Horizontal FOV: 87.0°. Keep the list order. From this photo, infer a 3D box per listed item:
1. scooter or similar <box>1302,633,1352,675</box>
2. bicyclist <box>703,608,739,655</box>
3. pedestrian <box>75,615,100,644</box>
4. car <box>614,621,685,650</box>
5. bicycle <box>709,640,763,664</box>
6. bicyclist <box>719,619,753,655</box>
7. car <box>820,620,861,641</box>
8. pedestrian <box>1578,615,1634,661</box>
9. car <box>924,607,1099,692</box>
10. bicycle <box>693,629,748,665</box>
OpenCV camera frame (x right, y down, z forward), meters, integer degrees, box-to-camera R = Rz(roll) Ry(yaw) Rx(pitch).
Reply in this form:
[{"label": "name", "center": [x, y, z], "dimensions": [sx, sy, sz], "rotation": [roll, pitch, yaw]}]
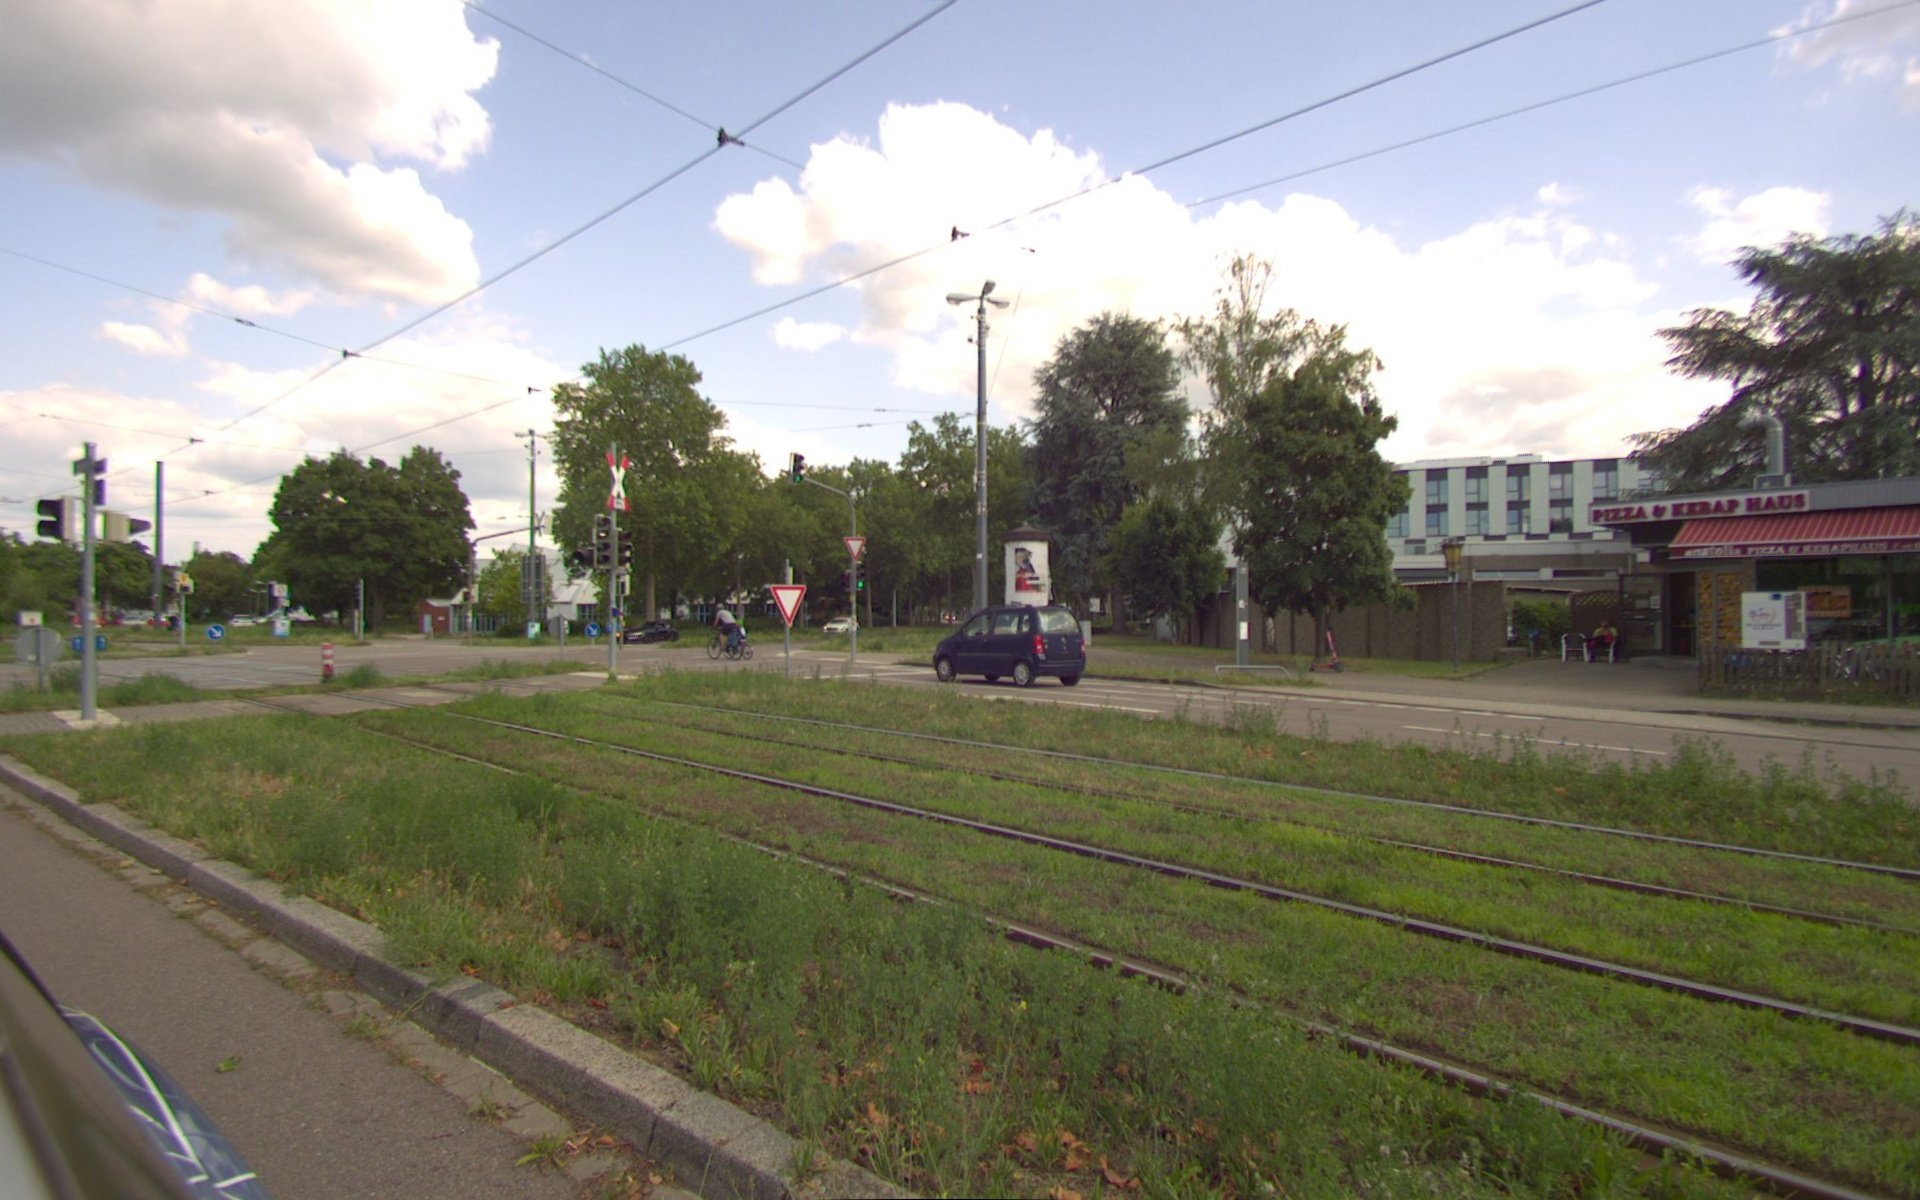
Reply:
[{"label": "scooter or similar", "center": [9.490, 1.395, 26.195], "dimensions": [0.420, 1.041, 1.226], "rotation": [1, -1, -31]}, {"label": "bicyclist", "center": [-7.559, 0.995, 31.996], "dimensions": [0.926, 1.468, 0.618], "rotation": [-1, -1, 34]}, {"label": "pedestrian", "center": [-55.770, 1.882, 64.668], "dimensions": [0.997, 1.882, 0.900], "rotation": [-1, -1, 26]}, {"label": "car", "center": [-17.500, 1.977, 57.128], "dimensions": [1.691, 1.535, 3.821], "rotation": [0, -1, 27]}, {"label": "bicycle", "center": [-7.229, 1.659, 32.579], "dimensions": [1.800, 0.723, 0.640], "rotation": [-1, -1, 34]}, {"label": "bicyclist", "center": [-7.211, 1.189, 32.579], "dimensions": [0.926, 1.121, 0.634], "rotation": [-1, -1, 34]}, {"label": "car", "center": [-9.089, 2.298, 77.175], "dimensions": [1.685, 1.535, 3.889], "rotation": [0, -1, 17]}, {"label": "pedestrian", "center": [16.770, 0.981, 26.275], "dimensions": [1.138, 1.155, 0.933], "rotation": [1, -2, -40]}, {"label": "car", "center": [1.029, 0.970, 21.468], "dimensions": [1.757, 1.638, 3.500], "rotation": [1, -1, -42]}, {"label": "bicycle", "center": [-7.587, 1.463, 32.000], "dimensions": [1.800, 1.088, 0.640], "rotation": [-1, -1, 34]}]
